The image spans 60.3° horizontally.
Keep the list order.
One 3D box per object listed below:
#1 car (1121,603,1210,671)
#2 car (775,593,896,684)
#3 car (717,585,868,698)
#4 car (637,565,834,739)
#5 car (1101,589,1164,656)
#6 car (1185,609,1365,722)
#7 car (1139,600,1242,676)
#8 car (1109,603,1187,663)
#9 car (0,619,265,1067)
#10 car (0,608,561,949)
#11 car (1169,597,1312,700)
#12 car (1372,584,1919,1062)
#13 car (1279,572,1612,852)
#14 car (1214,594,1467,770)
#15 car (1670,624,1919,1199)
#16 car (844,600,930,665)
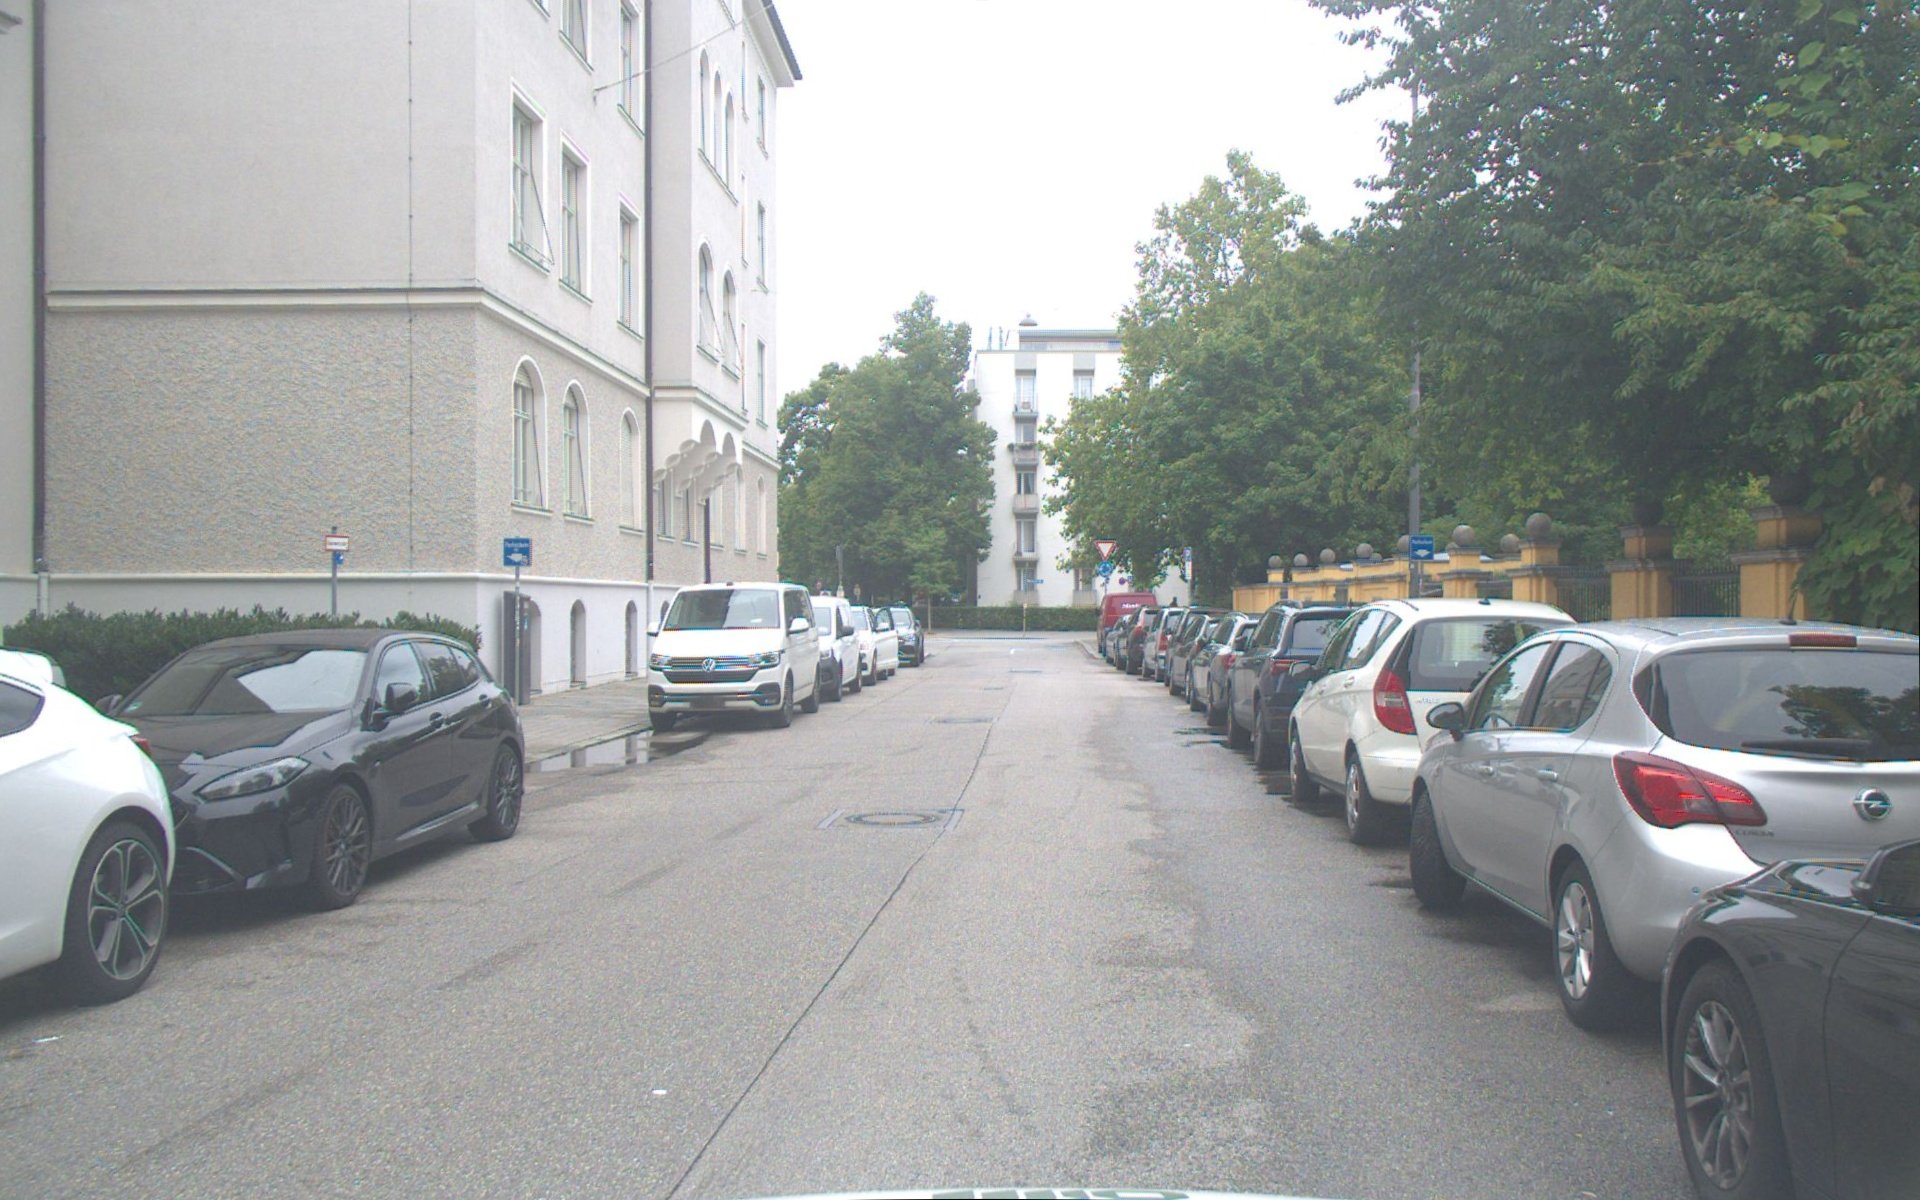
[{"bbox_3d":[5.010,0.877,40.764,1.800,1.545,3.948,2,-1,2],"label":"car"},{"bbox_3d":[-2.604,0.768,35.592,1.973,1.756,4.276,-3,0,3],"label":"car"},{"bbox_3d":[-2.931,0.694,29.861,1.973,1.802,4.415,-3,0,3],"label":"car"},{"bbox_3d":[-3.071,0.665,23.651,1.847,2.165,4.708,-3,0,3],"label":"car"},{"bbox_3d":[5.531,0.674,52.657,1.797,1.960,4.008,3,1,7],"label":"car"},{"bbox_3d":[4.237,0.840,22.802,1.800,1.369,3.948,2,-1,2],"label":"car"},{"bbox_3d":[5.032,0.810,36.564,1.800,1.545,3.948,2,-1,2],"label":"car"},{"bbox_3d":[5.138,0.884,45.637,1.800,1.545,3.948,2,-1,2],"label":"car"},{"bbox_3d":[-4.160,0.863,5.154,1.797,1.463,4.277,-3,0,6],"label":"car"},{"bbox_3d":[-3.983,0.871,9.978,1.798,1.526,4.277,-3,0,4],"label":"car"},{"bbox_3d":[4.616,0.774,27.714,1.800,1.545,3.948,2,-1,2],"label":"car"},{"bbox_3d":[3.076,0.760,7.347,1.618,1.545,3.795,1,-1,2],"label":"car"},{"bbox_3d":[3.357,0.708,12.074,1.482,1.690,3.675,1,-1,3],"label":"car"},{"bbox_3d":[3.815,0.776,17.246,1.800,1.578,3.948,2,-1,2],"label":"car"},{"bbox_3d":[2.671,0.784,2.324,1.799,1.438,4.345,1,-1,5],"label":"car"},{"bbox_3d":[-2.036,0.890,47.320,1.973,1.662,4.415,-3,0,3],"label":"car"}]
